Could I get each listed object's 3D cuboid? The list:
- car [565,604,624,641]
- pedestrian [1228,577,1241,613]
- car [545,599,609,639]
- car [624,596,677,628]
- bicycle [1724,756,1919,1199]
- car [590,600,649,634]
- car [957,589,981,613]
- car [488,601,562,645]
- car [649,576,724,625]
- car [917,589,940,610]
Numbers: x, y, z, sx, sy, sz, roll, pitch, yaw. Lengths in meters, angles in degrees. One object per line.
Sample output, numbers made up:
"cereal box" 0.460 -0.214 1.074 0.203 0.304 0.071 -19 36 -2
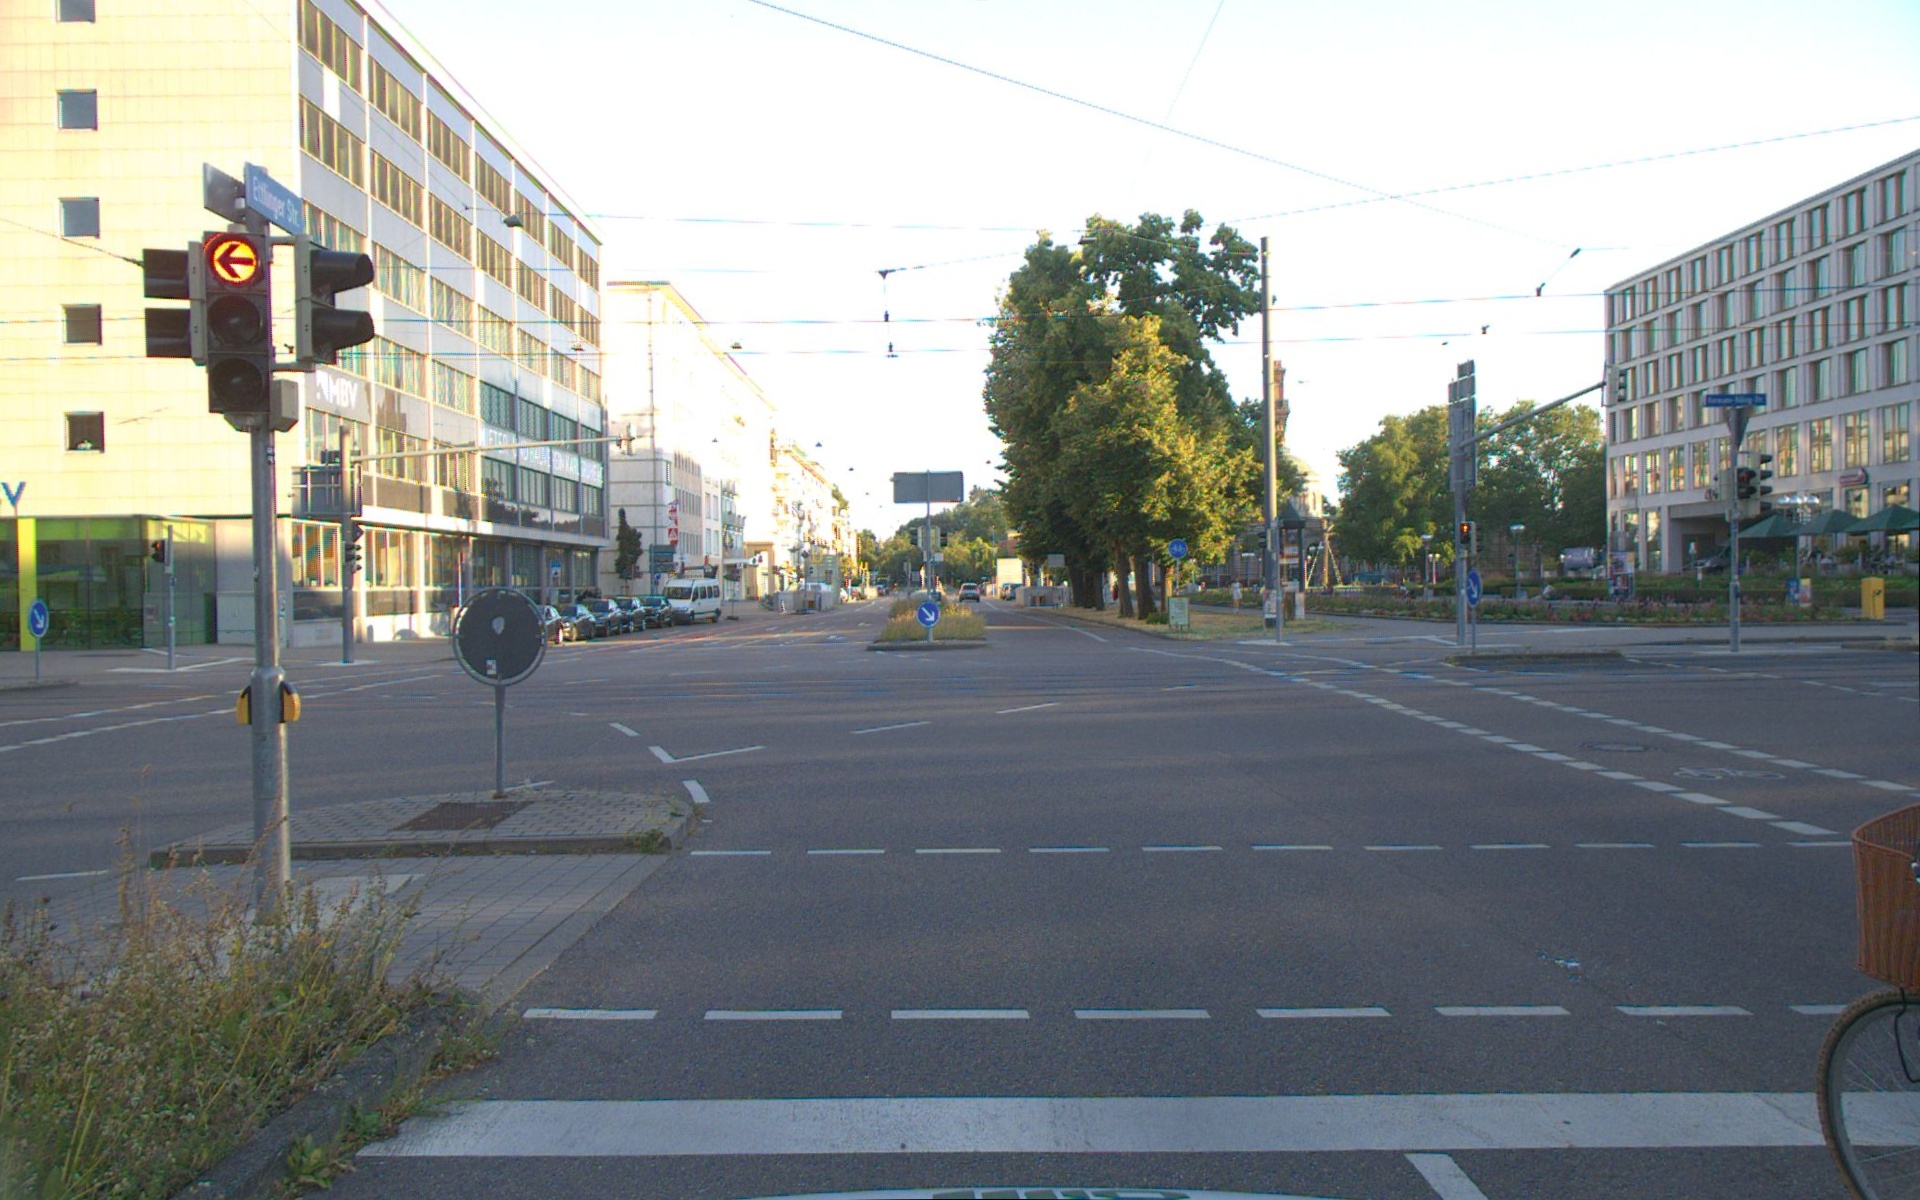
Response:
"car" -16.117 1.007 73.090 1.760 1.501 3.998 -1 -2 -1
"pedestrian" 12.910 -0.235 77.818 0.498 1.697 0.531 -1 0 -2
"car" -15.748 0.813 68.111 1.760 1.501 3.998 -1 -2 -1
"car" -15.825 0.649 84.726 1.759 1.501 4.001 -1 -2 3
"bicycle" 2.120 0.921 2.859 0.624 1.087 2.069 0 0 -1
"car" -16.070 0.833 78.321 1.758 1.501 4.001 -1 -2 3
"car" 0.777 0.059 146.462 1.953 2.049 3.999 -1 0 -2
"car" -16.216 0.884 61.797 1.760 1.501 3.998 -1 -2 -1
"car" -15.034 0.079 91.334 2.130 2.427 5.994 -2 -2 11
"car" -2.858 -0.063 149.044 1.953 1.847 3.999 -1 0 -2
